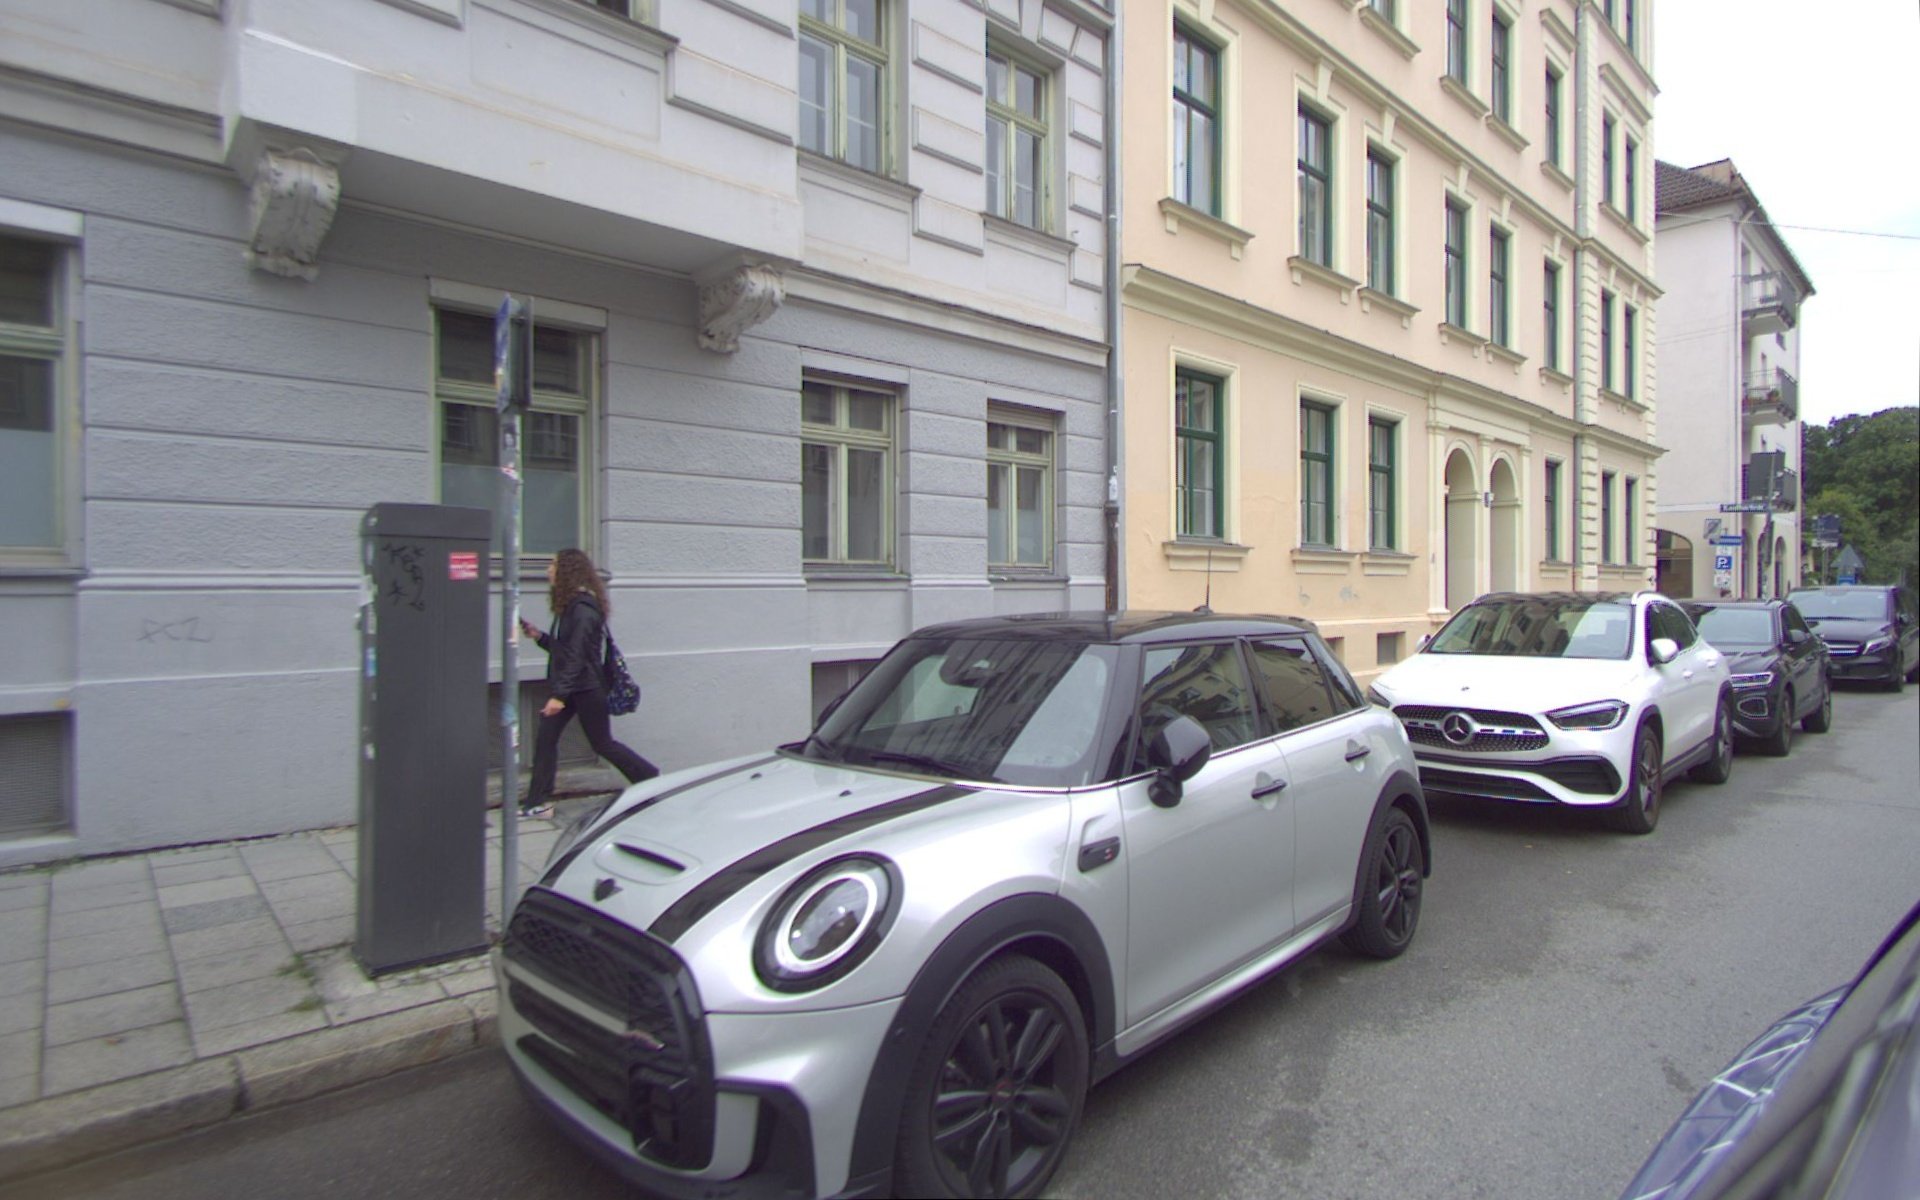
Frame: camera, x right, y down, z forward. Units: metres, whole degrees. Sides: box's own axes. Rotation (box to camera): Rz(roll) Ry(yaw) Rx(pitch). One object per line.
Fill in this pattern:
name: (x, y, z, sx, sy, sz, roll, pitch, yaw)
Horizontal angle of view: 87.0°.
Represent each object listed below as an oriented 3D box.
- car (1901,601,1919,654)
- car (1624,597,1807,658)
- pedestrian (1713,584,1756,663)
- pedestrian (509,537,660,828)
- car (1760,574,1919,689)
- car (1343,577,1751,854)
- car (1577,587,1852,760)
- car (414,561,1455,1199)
car: (29.837, 0.813, 30.629, 3.933, 1.518, 1.708, 0, 0, -43)
car: (21.466, 0.709, 28.846, 1.684, 1.585, 3.989, 0, 0, -45)
pedestrian: (18.293, 0.531, 23.897, 0.718, 1.825, 0.697, 0, 0, -43)
pedestrian: (-2.228, 0.442, 5.995, 0.614, 1.594, 0.645, 0, 2, -43)
car: (16.786, 0.498, 18.927, 5.024, 1.884, 1.997, 0, 0, -41)
car: (4.824, 0.659, 8.018, 4.251, 1.621, 1.718, 0, 0, -44)
car: (8.530, 0.657, 11.306, 4.072, 1.586, 1.719, 0, 0, -42)
car: (0.319, 0.680, 3.823, 1.717, 1.529, 3.874, 1, 0, 44)
